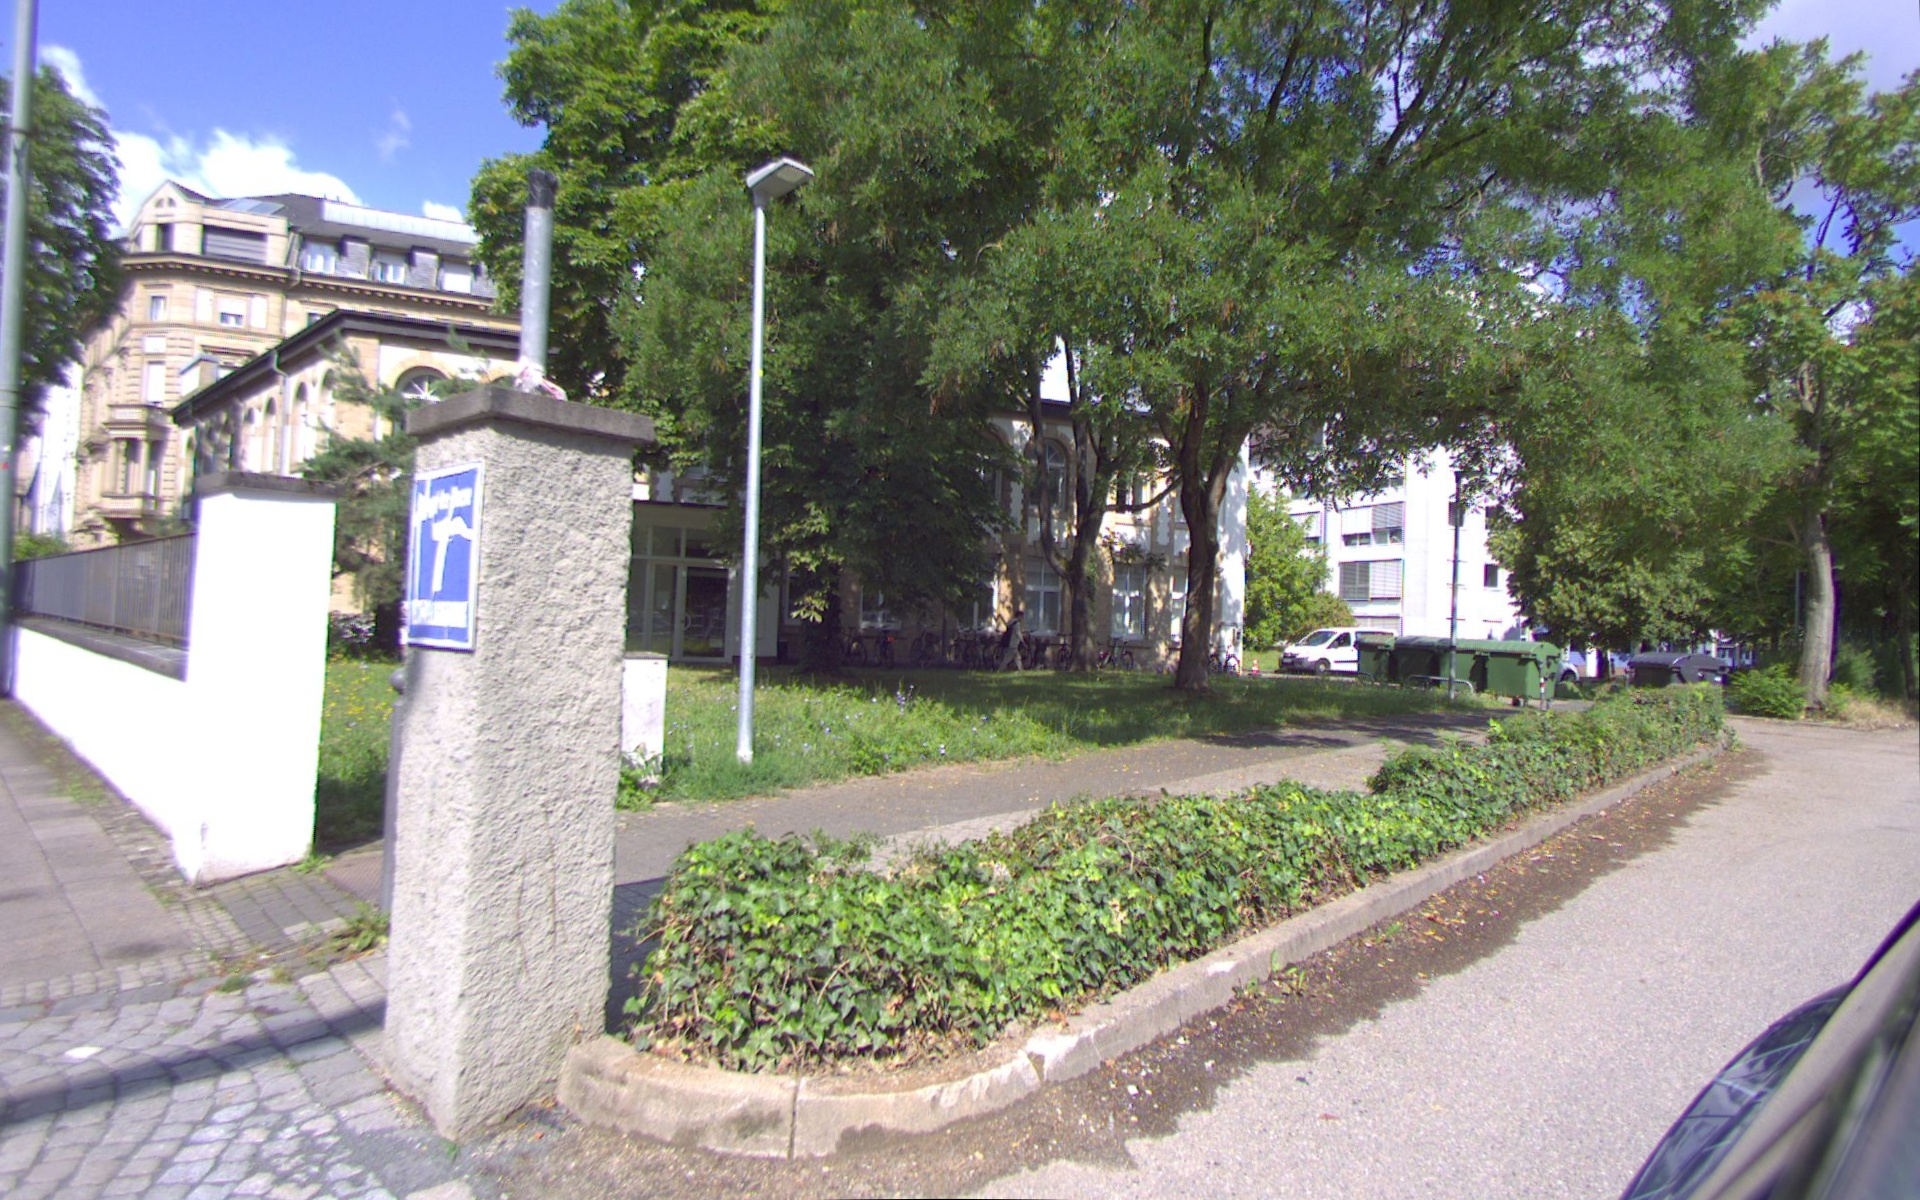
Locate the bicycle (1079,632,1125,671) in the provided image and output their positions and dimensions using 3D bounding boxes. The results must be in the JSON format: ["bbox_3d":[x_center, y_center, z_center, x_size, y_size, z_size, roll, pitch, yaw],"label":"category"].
[{"bbox_3d":[3.992,1.432,28.514,0.418,1.000,1.824,4,-1,-20],"label":"bicycle"}]

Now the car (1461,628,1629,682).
[{"bbox_3d":[18.352,1.716,31.717,4.985,1.516,1.813,3,-2,-21],"label":"car"}]

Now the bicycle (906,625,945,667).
[{"bbox_3d":[-0.918,1.192,26.774,0.418,1.000,1.824,4,-1,-20],"label":"bicycle"}]

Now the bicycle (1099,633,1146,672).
[{"bbox_3d":[4.610,1.479,28.877,0.418,1.000,1.824,4,-1,-20],"label":"bicycle"}]

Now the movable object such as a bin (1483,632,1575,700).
[{"bbox_3d":[12.450,1.430,22.190,1.071,1.370,1.369,2,-1,-23],"label":"movable object such as a bin"}]

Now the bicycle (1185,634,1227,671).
[{"bbox_3d":[7.194,1.527,29.659,0.418,1.000,1.461,4,-1,-19],"label":"bicycle"}]

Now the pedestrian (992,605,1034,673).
[{"bbox_3d":[1.329,0.976,25.392,0.840,1.644,0.571,3,-2,-23],"label":"pedestrian"}]

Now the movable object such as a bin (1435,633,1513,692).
[{"bbox_3d":[11.938,1.448,23.514,0.979,1.282,1.258,2,-1,-23],"label":"movable object such as a bin"}]

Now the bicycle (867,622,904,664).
[{"bbox_3d":[-1.967,1.105,26.430,0.418,1.000,1.824,4,-1,-20],"label":"bicycle"}]

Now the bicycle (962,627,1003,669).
[{"bbox_3d":[0.590,1.276,27.302,0.418,1.000,1.824,4,-1,-20],"label":"bicycle"}]

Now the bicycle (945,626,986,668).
[{"bbox_3d":[0.128,1.243,27.038,0.418,1.000,1.824,4,-1,-20],"label":"bicycle"}]

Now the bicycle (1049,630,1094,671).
[{"bbox_3d":[3.080,1.392,28.203,0.418,1.000,1.824,4,-1,-20],"label":"bicycle"}]

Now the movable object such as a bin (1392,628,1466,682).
[{"bbox_3d":[11.483,1.347,24.824,1.007,1.236,1.276,2,-1,-23],"label":"movable object such as a bin"}]

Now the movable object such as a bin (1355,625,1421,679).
[{"bbox_3d":[11.059,1.337,26.189,0.982,1.310,1.193,2,-1,-23],"label":"movable object such as a bin"}]

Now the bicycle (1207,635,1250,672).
[{"bbox_3d":[7.914,1.571,29.902,0.418,1.000,1.461,4,-1,-20],"label":"bicycle"}]

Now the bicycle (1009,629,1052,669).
[{"bbox_3d":[1.923,1.341,27.881,0.418,1.000,1.824,4,-1,-20],"label":"bicycle"}]

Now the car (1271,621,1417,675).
[{"bbox_3d":[14.858,1.840,39.227,4.985,1.887,2.043,2,-2,-15],"label":"car"}]

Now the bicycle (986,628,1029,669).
[{"bbox_3d":[1.277,1.305,27.550,0.418,1.000,1.824,4,-1,-20],"label":"bicycle"}]

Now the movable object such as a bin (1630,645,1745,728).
[{"bbox_3d":[13.255,1.546,18.482,1.108,1.374,1.324,2,-1,-1],"label":"movable object such as a bin"}]
